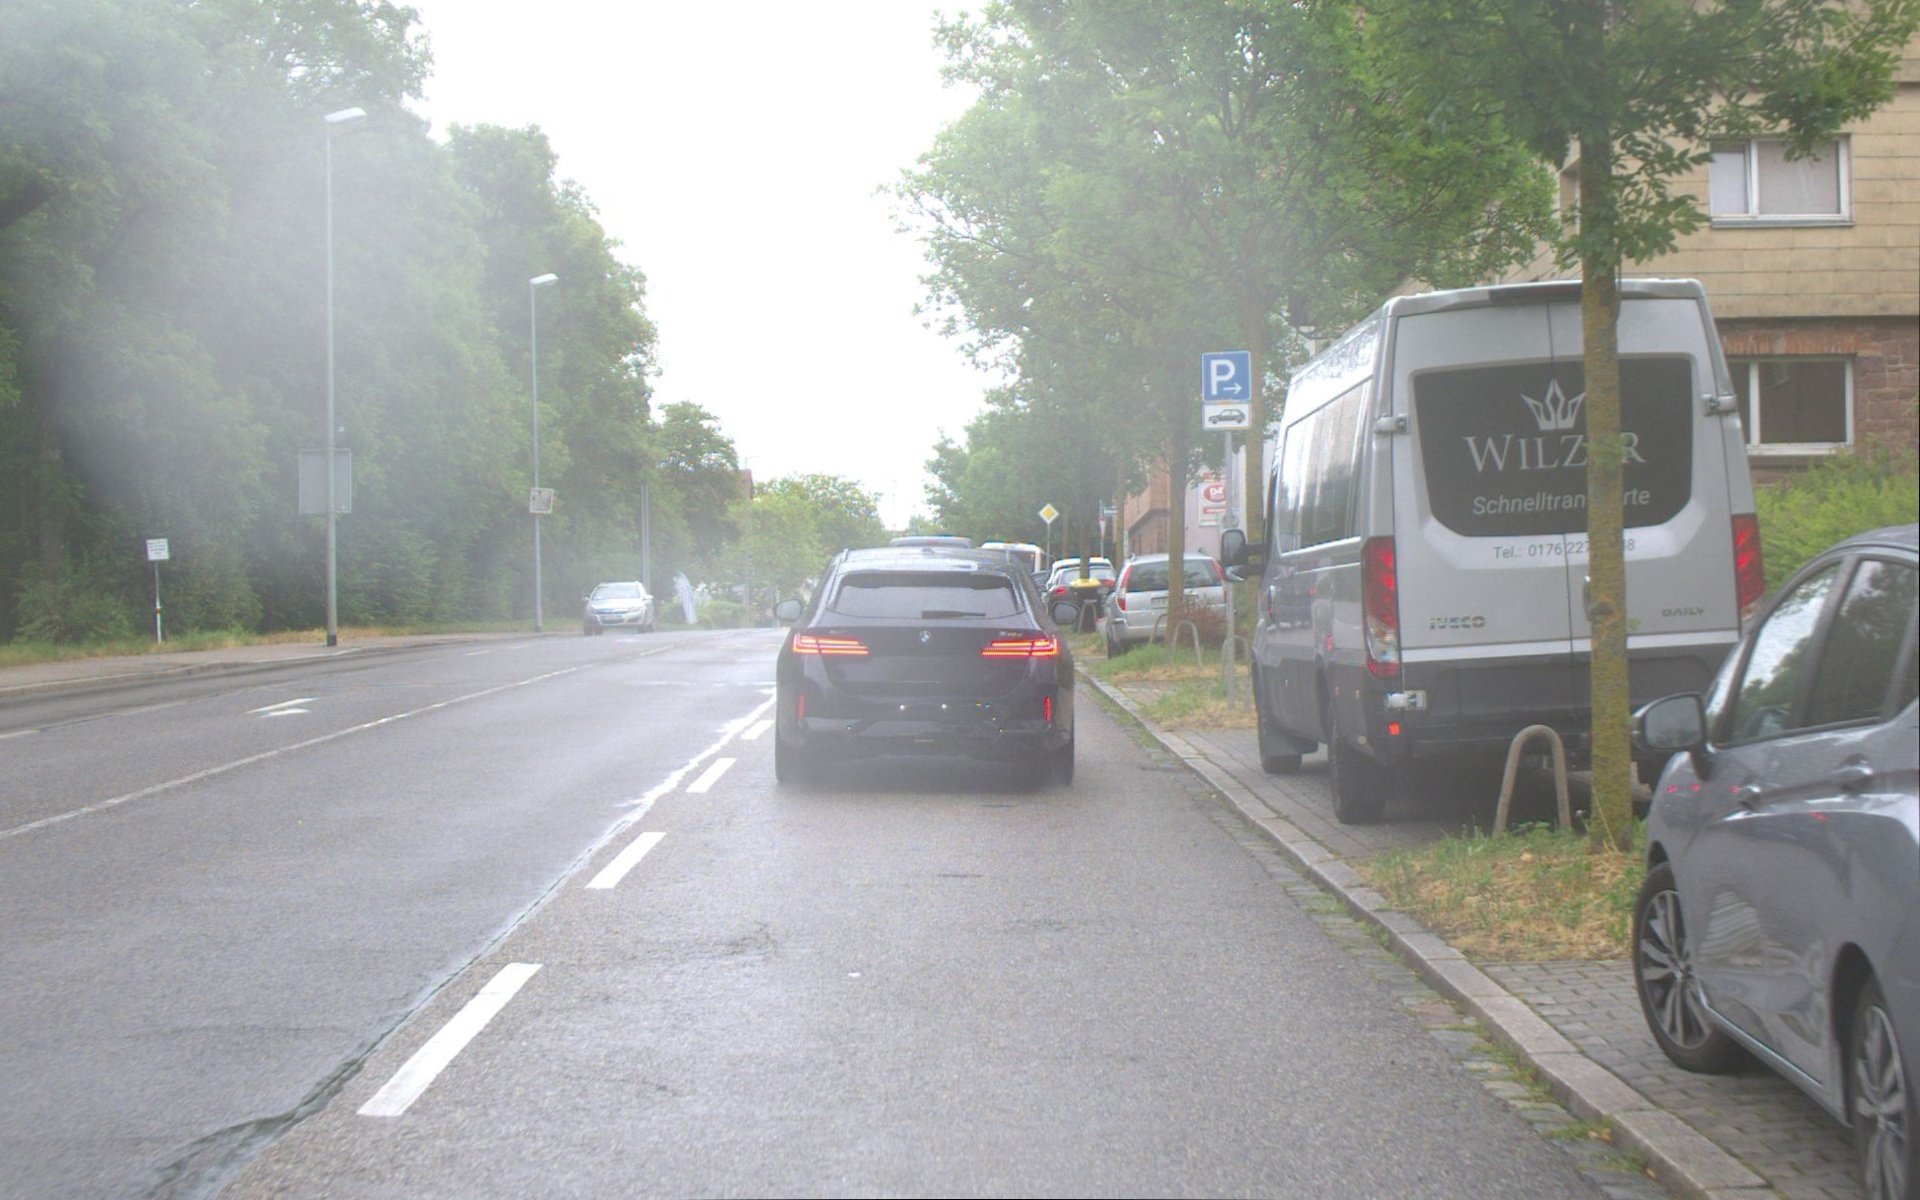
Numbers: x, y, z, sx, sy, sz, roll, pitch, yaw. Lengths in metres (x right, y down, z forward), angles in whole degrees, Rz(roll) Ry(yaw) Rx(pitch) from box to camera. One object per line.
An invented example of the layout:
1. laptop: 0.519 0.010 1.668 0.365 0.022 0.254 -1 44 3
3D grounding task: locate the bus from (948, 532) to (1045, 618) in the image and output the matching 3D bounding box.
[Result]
1. bus: 1.350 -0.916 121.916 2.623 2.838 8.287 -2 1 6

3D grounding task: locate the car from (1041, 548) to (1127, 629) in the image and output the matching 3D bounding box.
1. car: 2.829 -0.285 79.139 1.824 1.766 4.541 -2 1 1

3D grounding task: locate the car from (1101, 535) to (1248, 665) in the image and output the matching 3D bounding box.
1. car: 2.938 -0.046 47.907 1.702 1.579 4.643 -4 1 1

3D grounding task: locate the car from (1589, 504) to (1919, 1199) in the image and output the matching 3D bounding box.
1. car: 2.658 0.523 8.168 1.668 1.523 3.831 -4 1 2

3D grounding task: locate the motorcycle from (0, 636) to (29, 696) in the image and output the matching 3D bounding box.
1. motorcycle: -18.863 1.239 65.183 2.182 1.114 0.824 0 1 0

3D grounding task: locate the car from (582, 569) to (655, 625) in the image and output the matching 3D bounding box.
1. car: -9.568 -0.099 96.482 1.689 1.478 4.452 -3 0 -2

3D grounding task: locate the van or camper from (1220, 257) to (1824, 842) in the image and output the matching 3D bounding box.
1. van or camper: 2.913 -0.320 19.765 2.198 2.642 7.302 -3 1 0

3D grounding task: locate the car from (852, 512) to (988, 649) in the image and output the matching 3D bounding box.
1. car: -0.586 -0.296 52.757 1.993 2.007 4.000 0 0 0

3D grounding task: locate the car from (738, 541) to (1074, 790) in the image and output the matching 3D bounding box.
1. car: -0.358 0.380 22.847 1.993 1.448 4.000 2 0 -1
